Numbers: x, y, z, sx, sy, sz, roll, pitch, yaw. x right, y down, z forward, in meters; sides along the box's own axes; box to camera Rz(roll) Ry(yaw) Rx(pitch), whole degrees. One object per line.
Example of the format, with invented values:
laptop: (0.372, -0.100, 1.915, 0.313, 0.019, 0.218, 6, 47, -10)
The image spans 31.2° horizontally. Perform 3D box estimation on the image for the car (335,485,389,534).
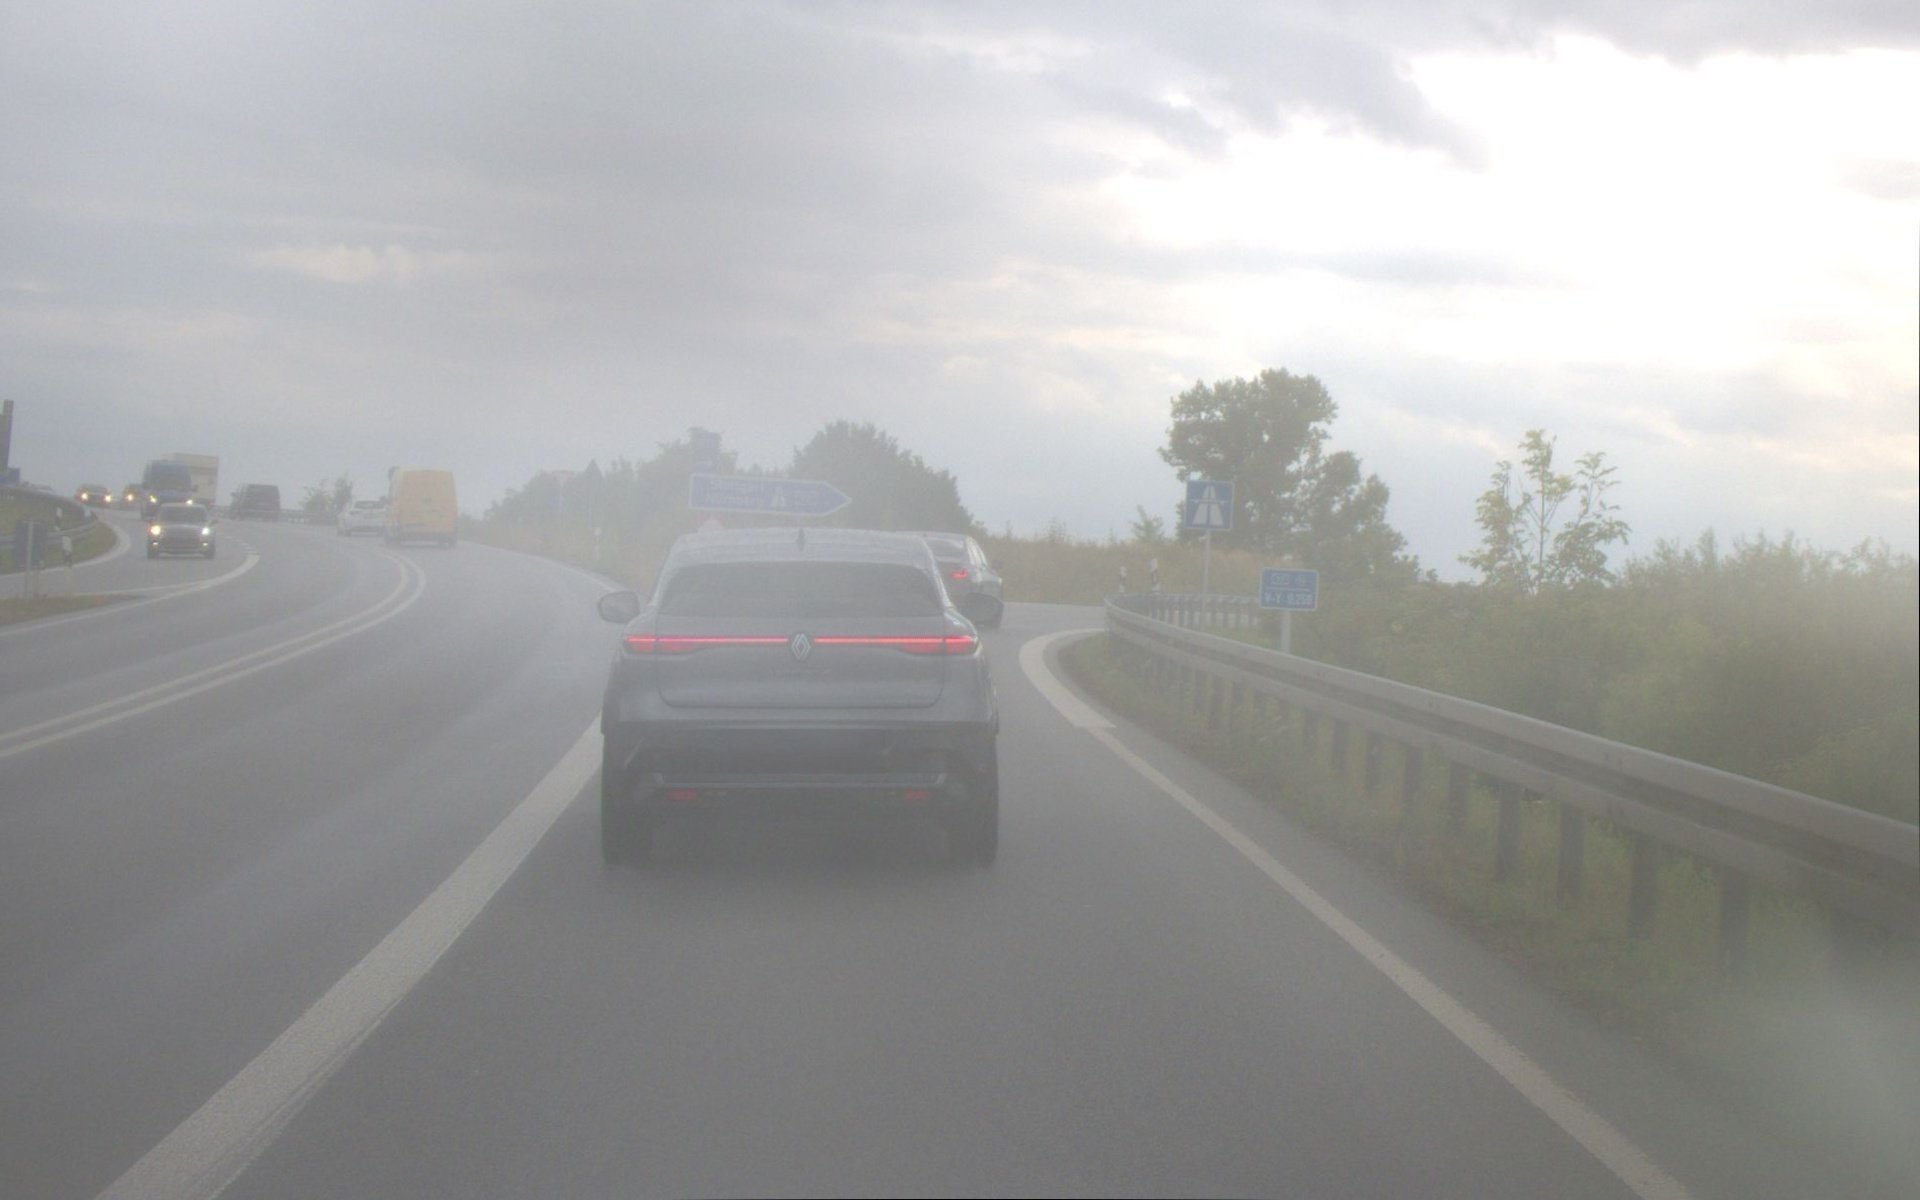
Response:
car: (-22.724, -3.440, 130.784, 1.791, 1.682, 4.001, 2, -1, -7)

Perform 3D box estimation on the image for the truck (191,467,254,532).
truck: (-42.927, -5.805, 199.989, 3.045, 3.373, 7.646, 2, -1, -15)

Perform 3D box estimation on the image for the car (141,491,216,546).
car: (-20.763, -2.161, 91.412, 1.744, 1.361, 4.051, -2, 2, -11)

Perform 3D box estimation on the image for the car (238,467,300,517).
car: (-34.600, -5.384, 172.026, 2.601, 2.243, 5.536, 2, -1, -15)

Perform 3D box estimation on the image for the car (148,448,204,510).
car: (-34.566, -5.335, 151.655, 2.351, 2.691, 6.997, 0, 2, -12)

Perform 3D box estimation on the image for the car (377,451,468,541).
car: (-17.660, -3.376, 112.747, 2.572, 2.716, 7.198, 2, 0, -11)

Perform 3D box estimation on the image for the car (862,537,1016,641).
car: (-0.293, -0.160, 53.885, 1.792, 1.436, 3.999, 5, 0, 7)

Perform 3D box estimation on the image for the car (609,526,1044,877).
car: (-0.606, 0.422, 16.356, 1.791, 1.436, 4.000, 1, 0, -1)
